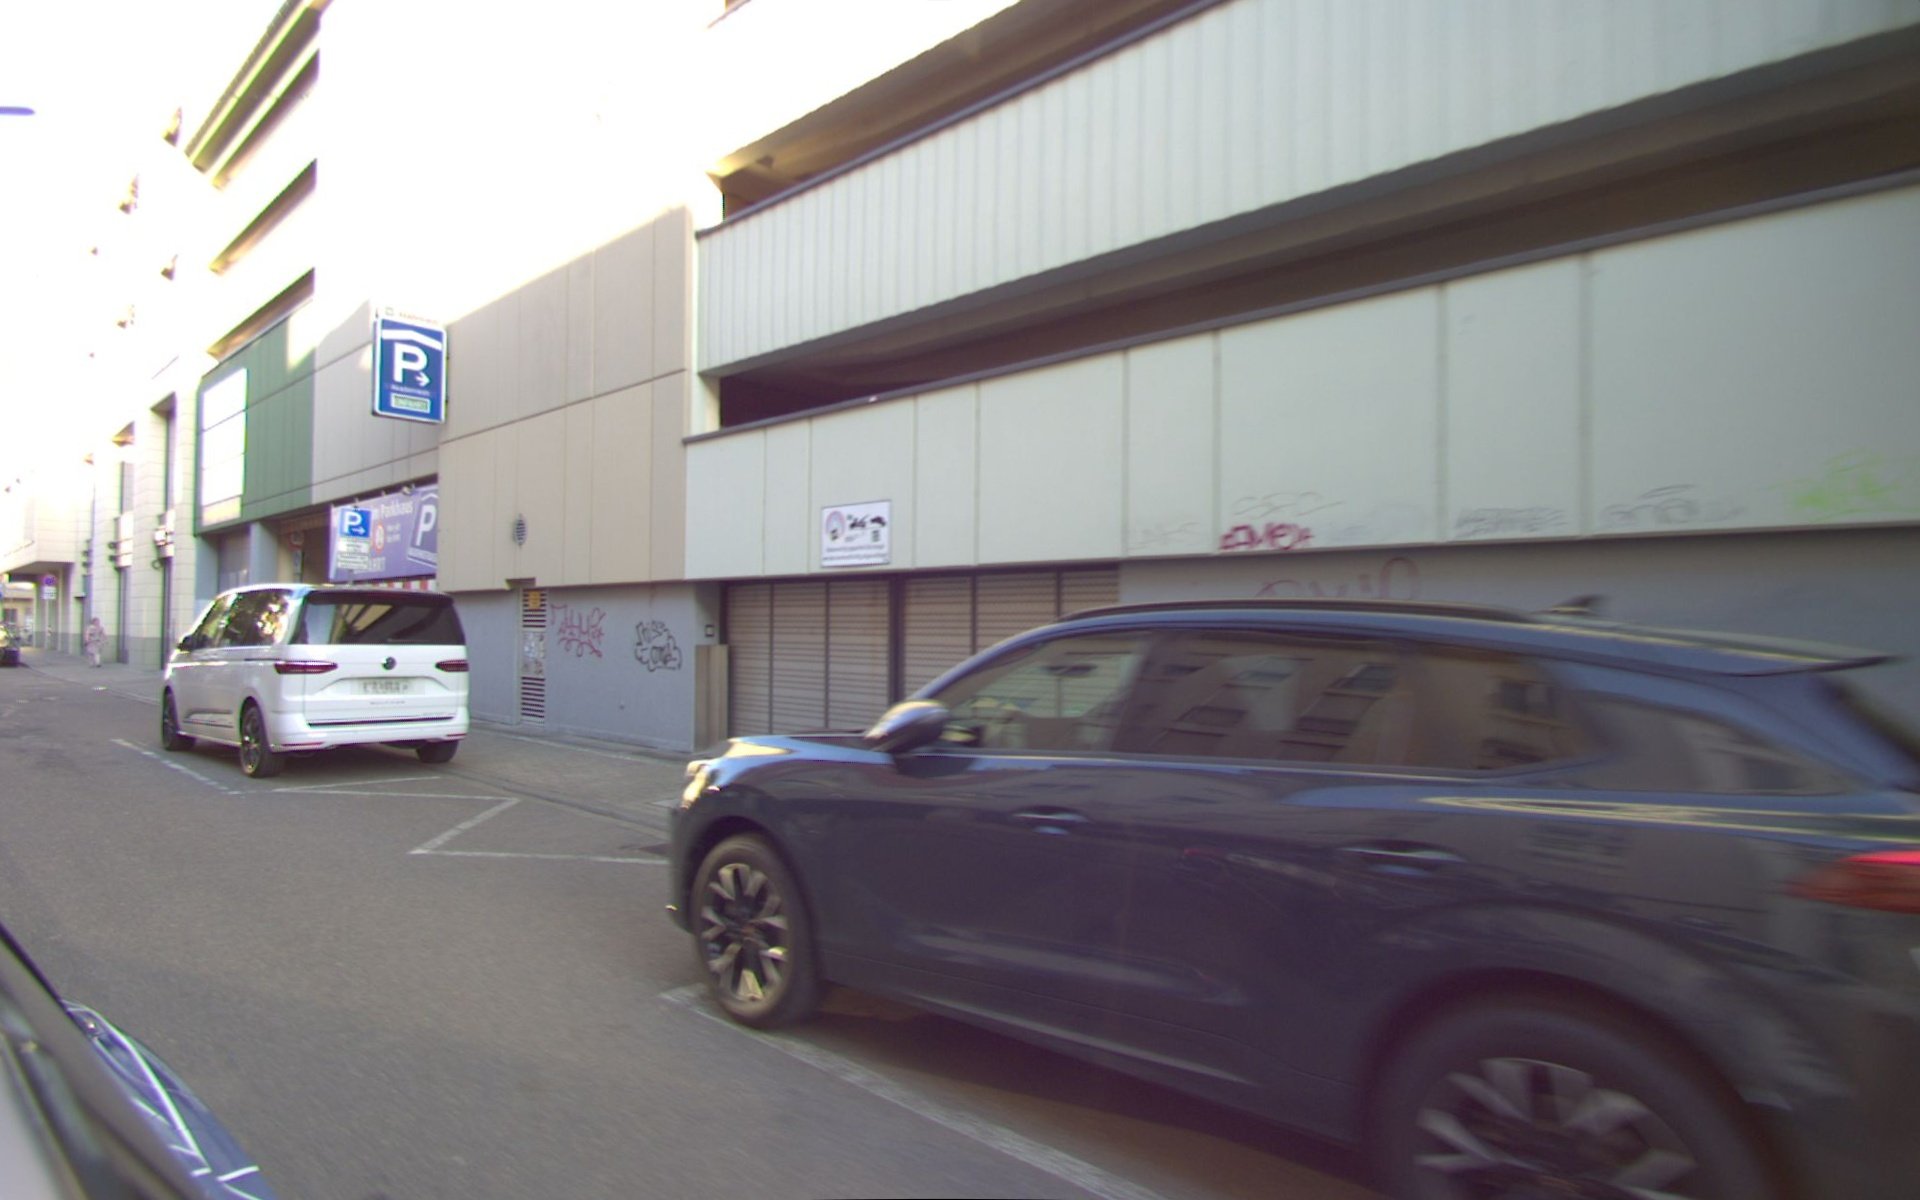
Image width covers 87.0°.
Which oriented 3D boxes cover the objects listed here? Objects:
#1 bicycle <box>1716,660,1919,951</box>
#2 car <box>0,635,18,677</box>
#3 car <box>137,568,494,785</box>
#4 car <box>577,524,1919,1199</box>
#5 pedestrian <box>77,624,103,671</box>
[{"bbox_3d":[4.346,0.864,4.257,1.794,1.169,0.636,-2,-2,43],"label":"bicycle"},{"bbox_3d":[-35.803,1.990,36.843,1.971,1.428,4.561,5,-4,-45],"label":"car"},{"bbox_3d":[-7.439,0.788,11.474,4.846,1.955,1.973,-1,-4,40],"label":"car"},{"bbox_3d":[0.819,0.759,3.501,4.767,1.580,1.862,-1,-5,40],"label":"car"},{"bbox_3d":[-30.699,1.679,35.691,0.565,1.638,0.612,-2,-2,42],"label":"pedestrian"}]
